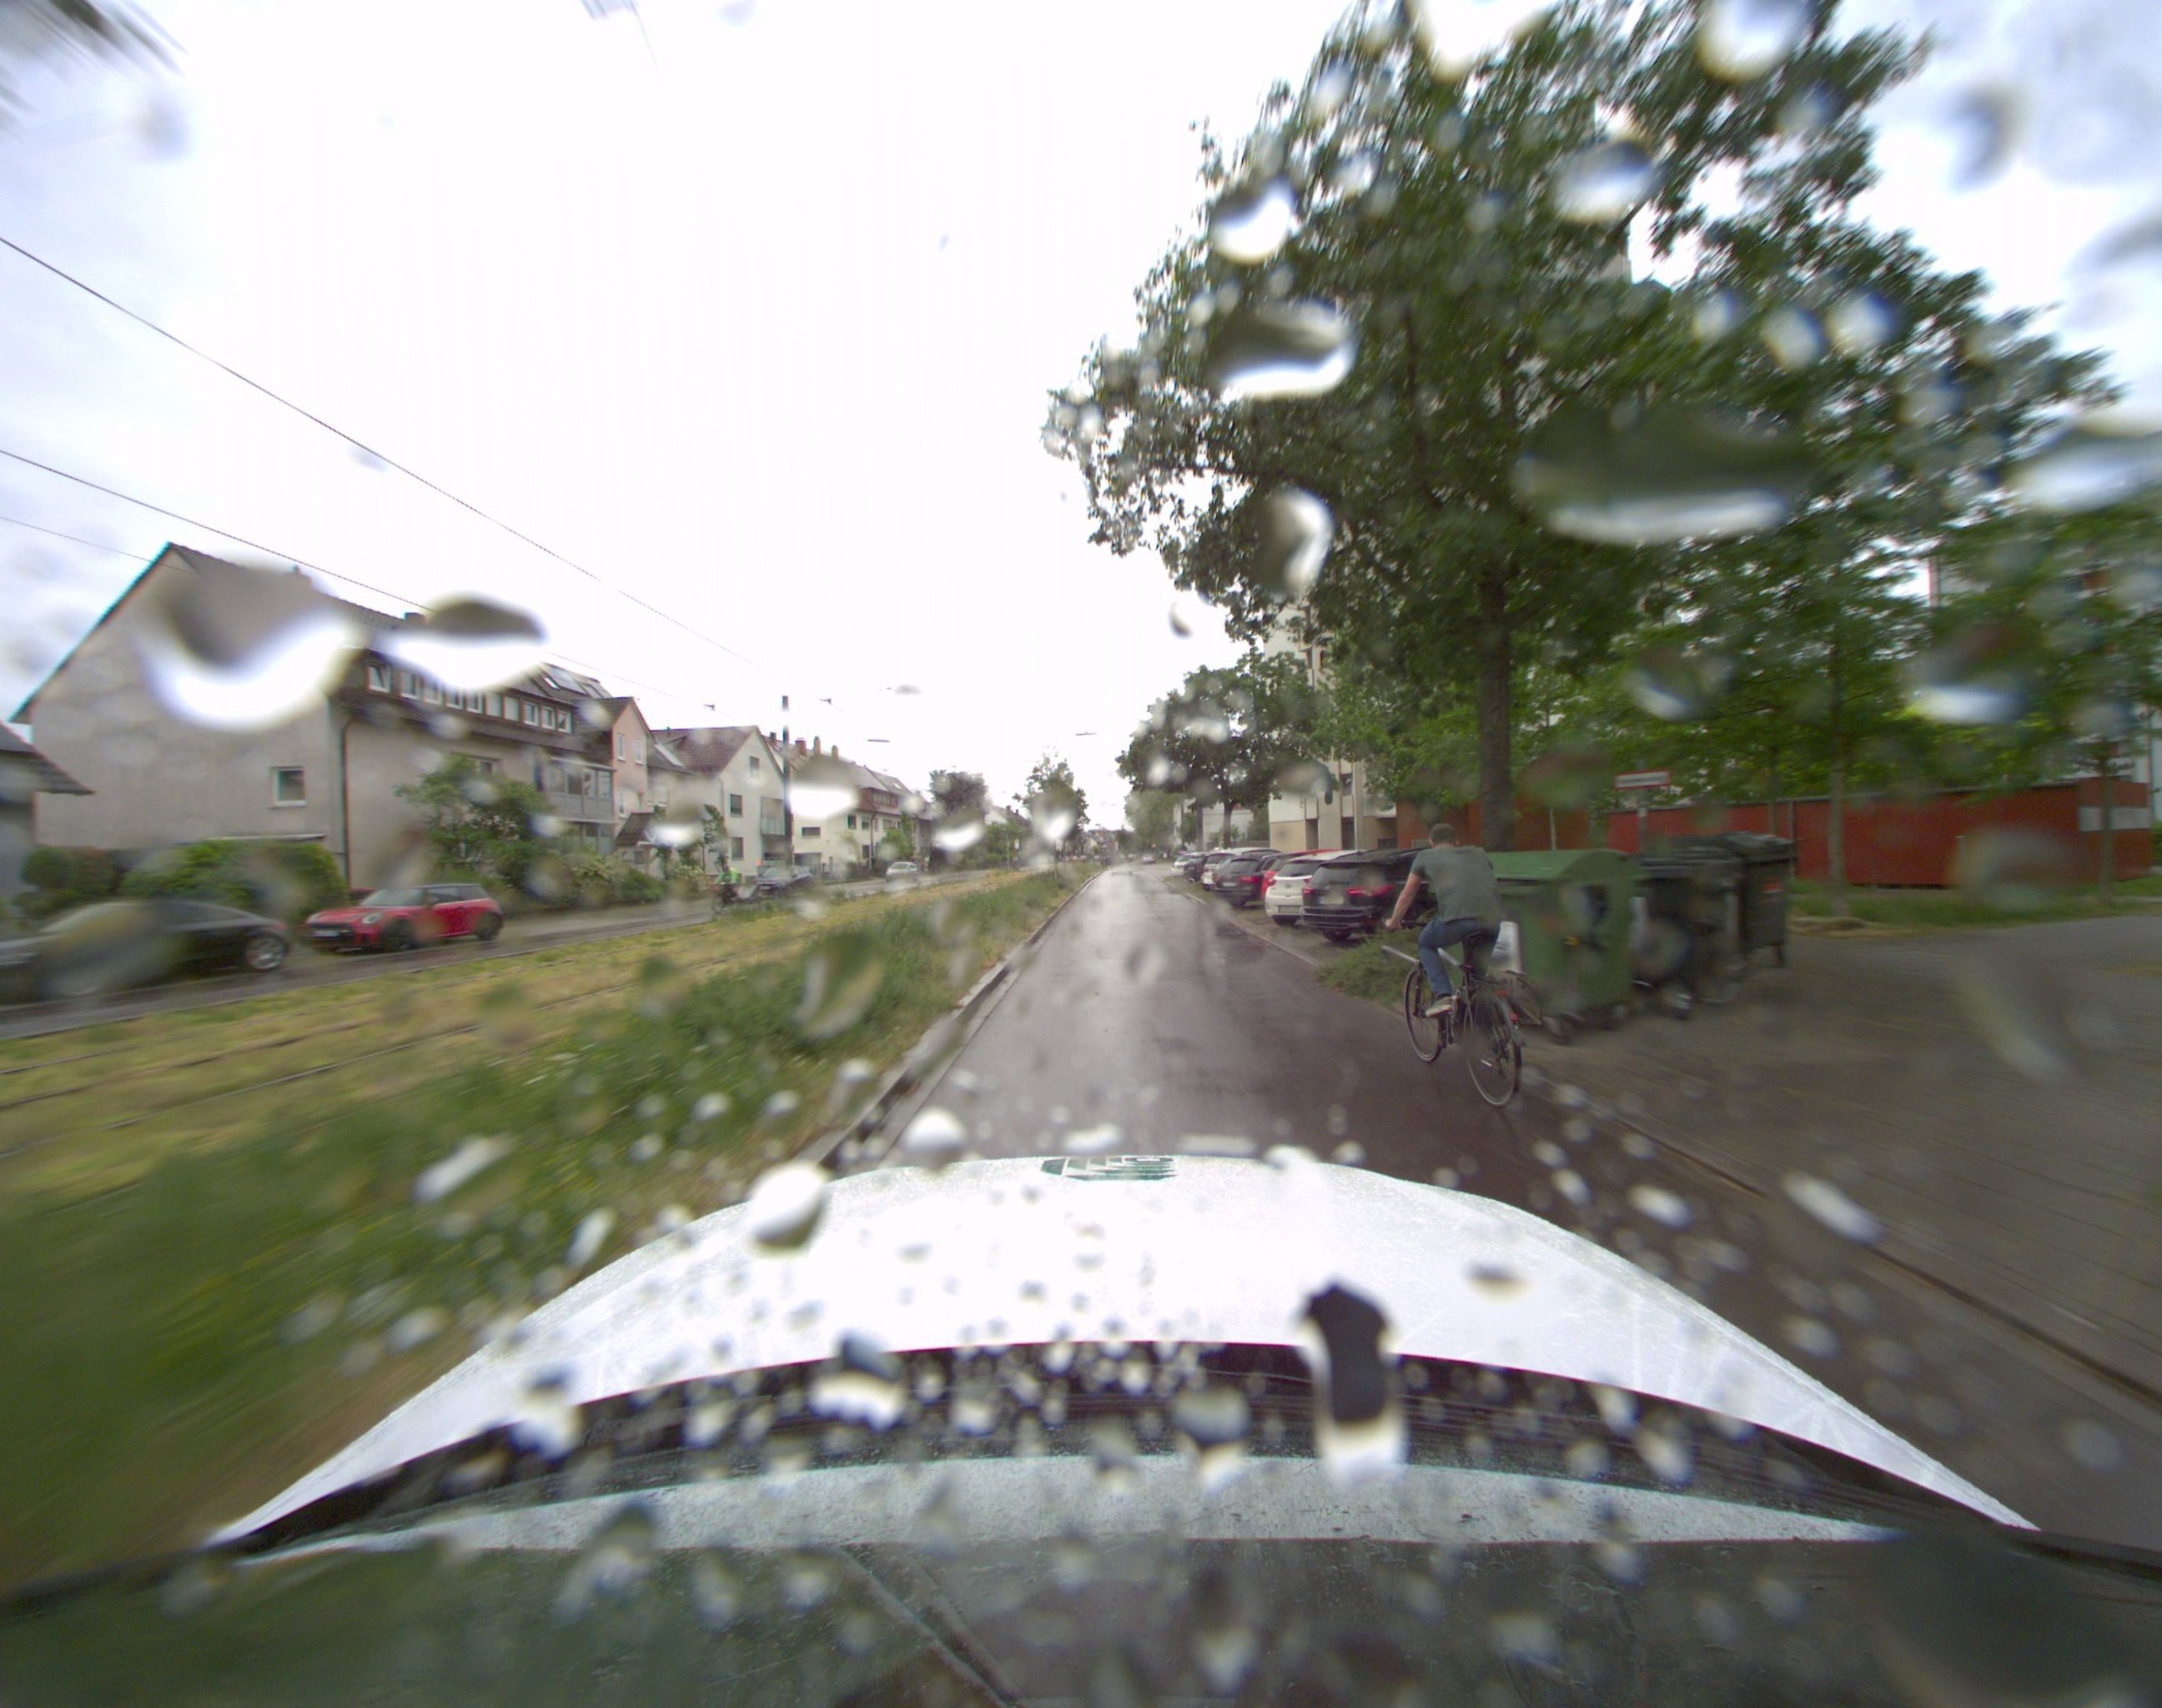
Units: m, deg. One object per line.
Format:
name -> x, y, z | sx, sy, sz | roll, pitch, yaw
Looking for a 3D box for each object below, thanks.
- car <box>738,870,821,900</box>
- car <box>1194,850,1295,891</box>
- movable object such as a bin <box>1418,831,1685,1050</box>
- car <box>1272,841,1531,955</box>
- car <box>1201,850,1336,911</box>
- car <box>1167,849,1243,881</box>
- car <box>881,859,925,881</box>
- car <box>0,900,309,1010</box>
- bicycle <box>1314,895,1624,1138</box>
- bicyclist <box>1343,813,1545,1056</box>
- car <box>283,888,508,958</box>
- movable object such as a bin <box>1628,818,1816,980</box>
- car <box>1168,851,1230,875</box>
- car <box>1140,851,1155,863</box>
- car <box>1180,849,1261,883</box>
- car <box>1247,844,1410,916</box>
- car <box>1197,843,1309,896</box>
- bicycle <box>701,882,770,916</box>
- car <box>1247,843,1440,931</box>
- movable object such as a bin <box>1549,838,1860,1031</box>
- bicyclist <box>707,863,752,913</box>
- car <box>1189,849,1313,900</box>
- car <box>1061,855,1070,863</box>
car -> -14.327, 1.444, 39.008 | 1.888, 1.244, 4.693 | 0, 0, 5
car -> 6.596, 0.642, 32.671 | 4.058, 1.445, 1.568 | -2, 0, -35
movable object such as a bin -> 3.814, 0.629, 6.724 | 1.129, 1.457, 1.392 | -8, 2, -19
car -> 5.379, 0.631, 13.526 | 4.244, 1.519, 1.858 | -2, 0, -33
car -> 5.252, 0.673, 22.506 | 4.063, 1.443, 1.566 | -2, 0, -42
car -> 6.712, 0.575, 43.875 | 4.058, 1.513, 1.568 | -2, 0, -35
car -> -13.335, 1.157, 61.262 | 1.888, 1.469, 4.693 | -2, 0, 5
car -> -15.239, 1.487, 13.102 | 1.657, 1.244, 4.073 | 0, 0, 2
bicycle -> 2.378, 0.903, 5.484 | 0.807, 1.096, 2.516 | -3, 0, -1
bicyclist -> 2.369, 0.485, 5.454 | 0.807, 1.433, 1.059 | -3, 0, -2
car -> -15.134, 1.464, 18.289 | 1.668, 1.244, 3.857 | 0, 0, 2
movable object such as a bin -> 6.746, 0.429, 8.603 | 1.250, 1.520, 1.079 | -3, 0, -26
car -> 7.842, 0.593, 53.886 | 4.058, 1.369, 1.568 | -2, 0, -35
car -> 9.280, 0.464, 113.953 | 1.826, 1.586, 4.002 | -2, 0, 2
car -> 7.047, 0.580, 40.961 | 4.058, 1.541, 1.568 | -2, 0, -35
car -> 6.125, 0.586, 19.996 | 4.056, 1.519, 1.569 | -2, 0, -33
car -> 6.221, 0.524, 29.356 | 4.058, 1.703, 1.568 | -2, 0, -35
bicycle -> -12.400, 1.590, 29.356 | 1.014, 1.027, 3.198 | -2, 0, 2
car -> 5.497, 0.614, 16.866 | 4.056, 1.519, 1.569 | -2, 0, -33
movable object such as a bin -> 5.303, 0.605, 7.016 | 1.687, 1.326, 1.392 | -4, 1, -20
bicyclist -> -12.409, 1.198, 28.781 | 1.014, 1.685, 1.092 | -2, 0, 1
car -> 5.586, 0.630, 26.567 | 4.058, 1.443, 1.568 | -2, 0, -35
car -> -3.404, 1.178, 179.993 | 1.836, 1.672, 4.002 | -2, 0, 2
